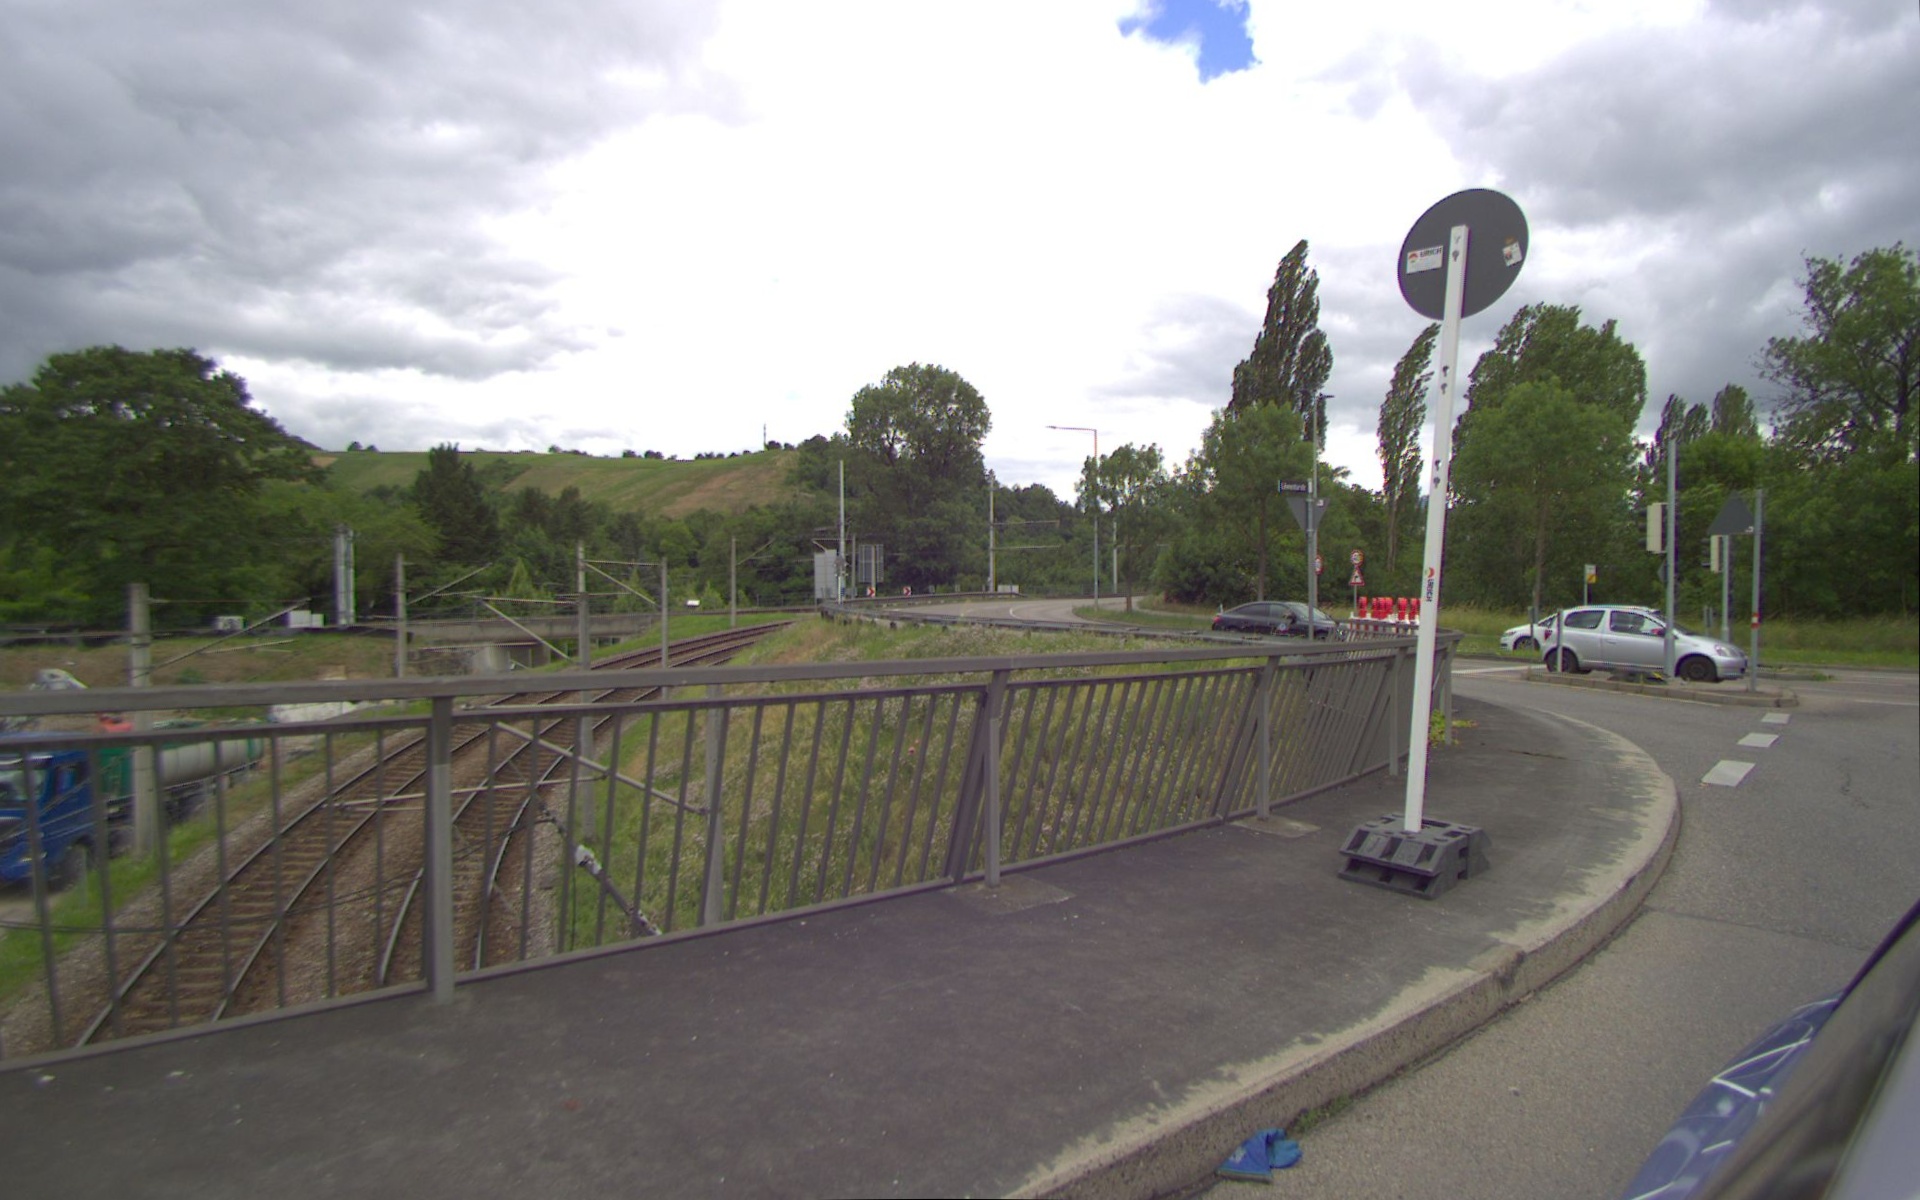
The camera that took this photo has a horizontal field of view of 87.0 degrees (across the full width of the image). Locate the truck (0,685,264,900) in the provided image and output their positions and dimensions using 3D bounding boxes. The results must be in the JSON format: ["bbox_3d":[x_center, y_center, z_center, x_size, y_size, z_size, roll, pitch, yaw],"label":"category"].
[{"bbox_3d":[-23.775,4.883,28.587,2.787,3.943,11.642,0,0,-14],"label":"truck"}]

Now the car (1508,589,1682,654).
[{"bbox_3d":[19.249,0.599,30.762,4.300,1.782,2.054,2,0,39],"label":"car"}]

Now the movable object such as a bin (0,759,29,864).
[{"bbox_3d":[-28.214,5.918,26.847,2.992,2.785,4.283,0,-1,3],"label":"movable object such as a bin"}]

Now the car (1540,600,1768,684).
[{"bbox_3d":[14.225,0.792,20.871,1.646,1.488,3.620,1,1,-44],"label":"car"}]

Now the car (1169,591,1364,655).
[{"bbox_3d":[8.333,0.572,27.942,1.845,1.495,4.959,2,0,-39],"label":"car"}]
